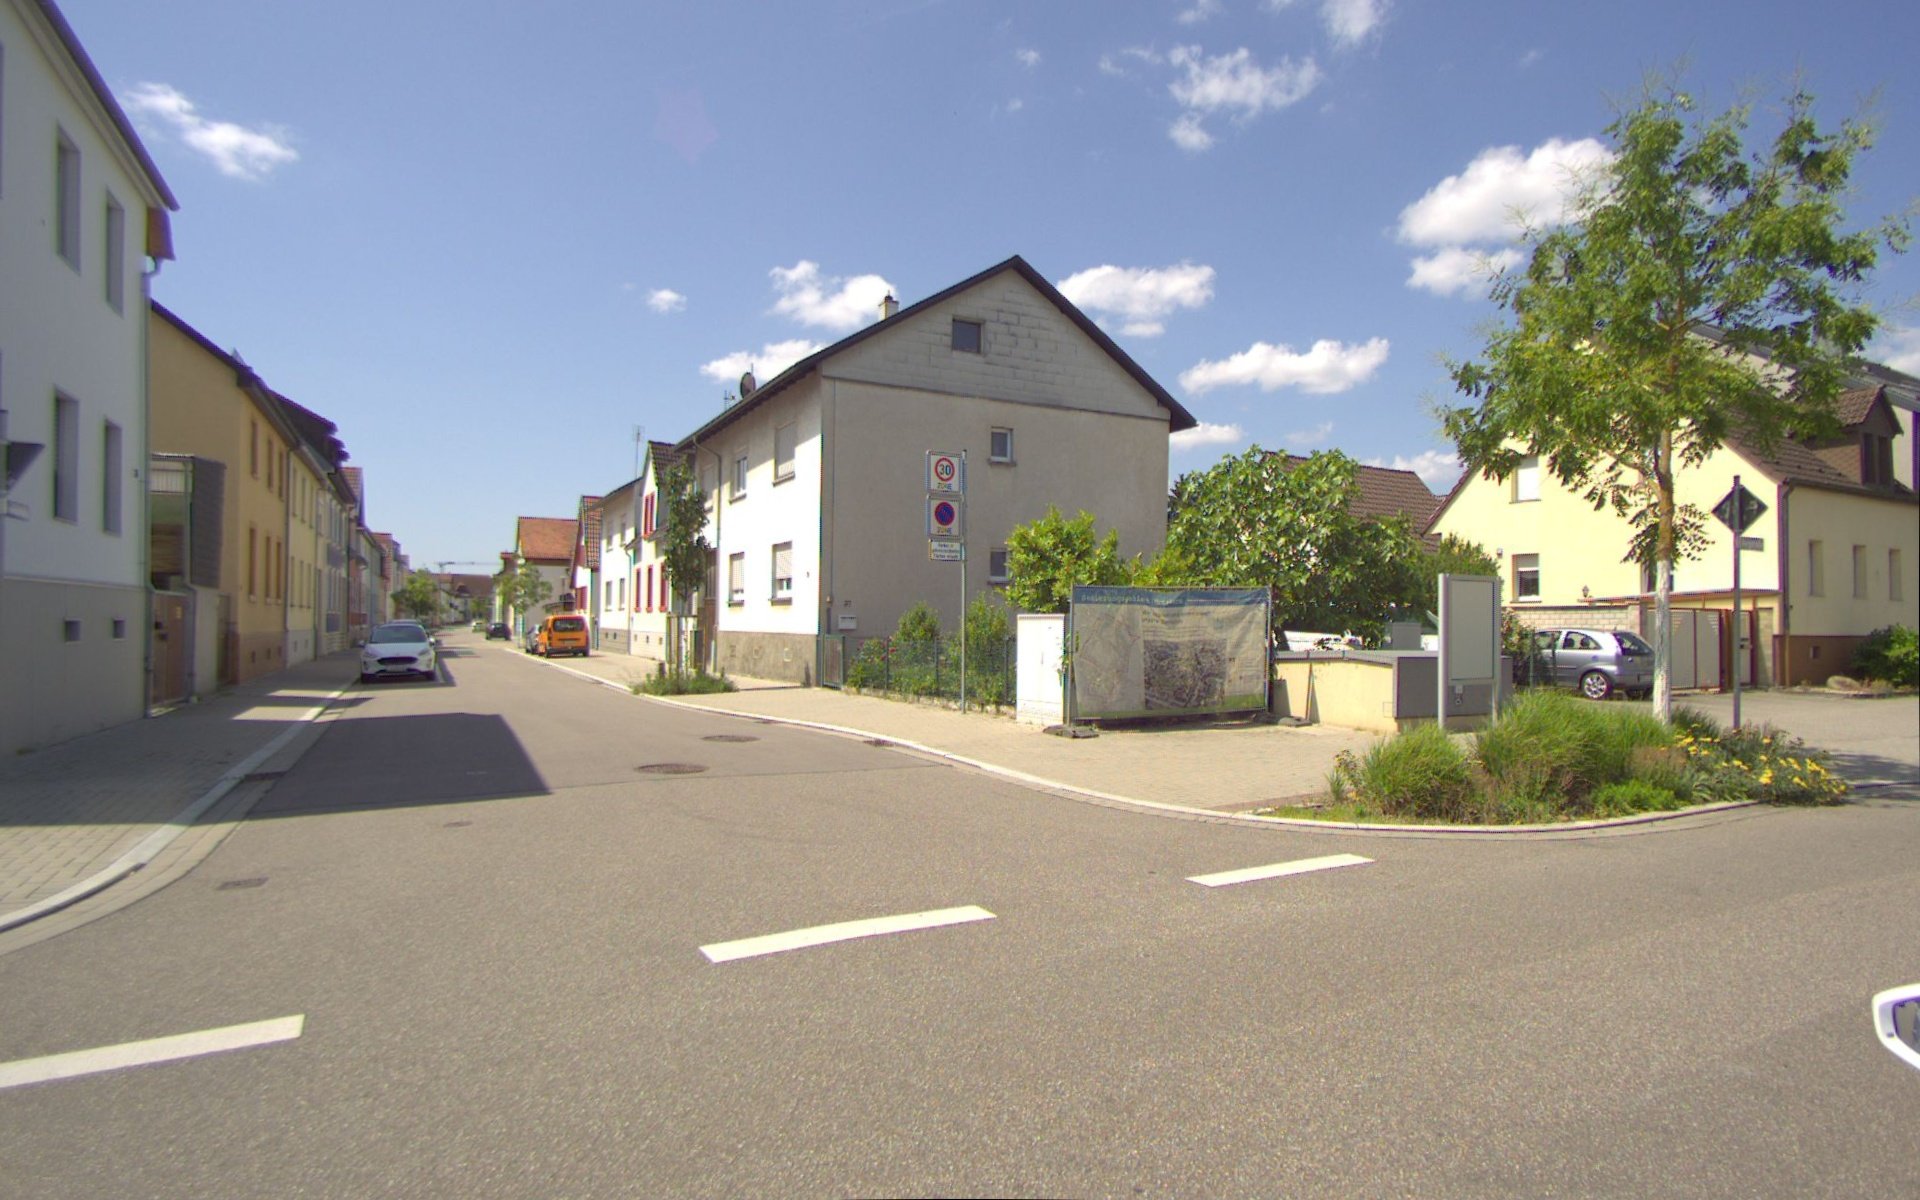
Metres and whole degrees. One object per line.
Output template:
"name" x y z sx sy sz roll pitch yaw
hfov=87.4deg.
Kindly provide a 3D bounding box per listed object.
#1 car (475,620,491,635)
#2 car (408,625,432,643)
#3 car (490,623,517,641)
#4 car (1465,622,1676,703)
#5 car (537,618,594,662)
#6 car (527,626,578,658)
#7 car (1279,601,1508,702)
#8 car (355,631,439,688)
"car" -66.157 3.772 139.251 1.974 1.846 3.973 2 0 -26
"car" -42.949 2.657 79.945 1.639 1.320 4.122 0 0 -28
"car" -37.946 2.633 83.446 1.868 1.384 3.971 -1 0 -28
"car" 13.045 1.269 21.675 1.767 1.490 3.514 1 0 -25
"car" -17.307 1.720 43.991 1.868 1.752 3.971 -1 0 -28
"car" -19.685 1.999 48.406 1.868 1.384 3.971 -1 0 -28
"car" 8.784 0.968 20.695 1.975 1.824 3.971 1 0 -28
"car" -15.236 1.557 27.336 1.868 1.320 3.971 0 0 -28
